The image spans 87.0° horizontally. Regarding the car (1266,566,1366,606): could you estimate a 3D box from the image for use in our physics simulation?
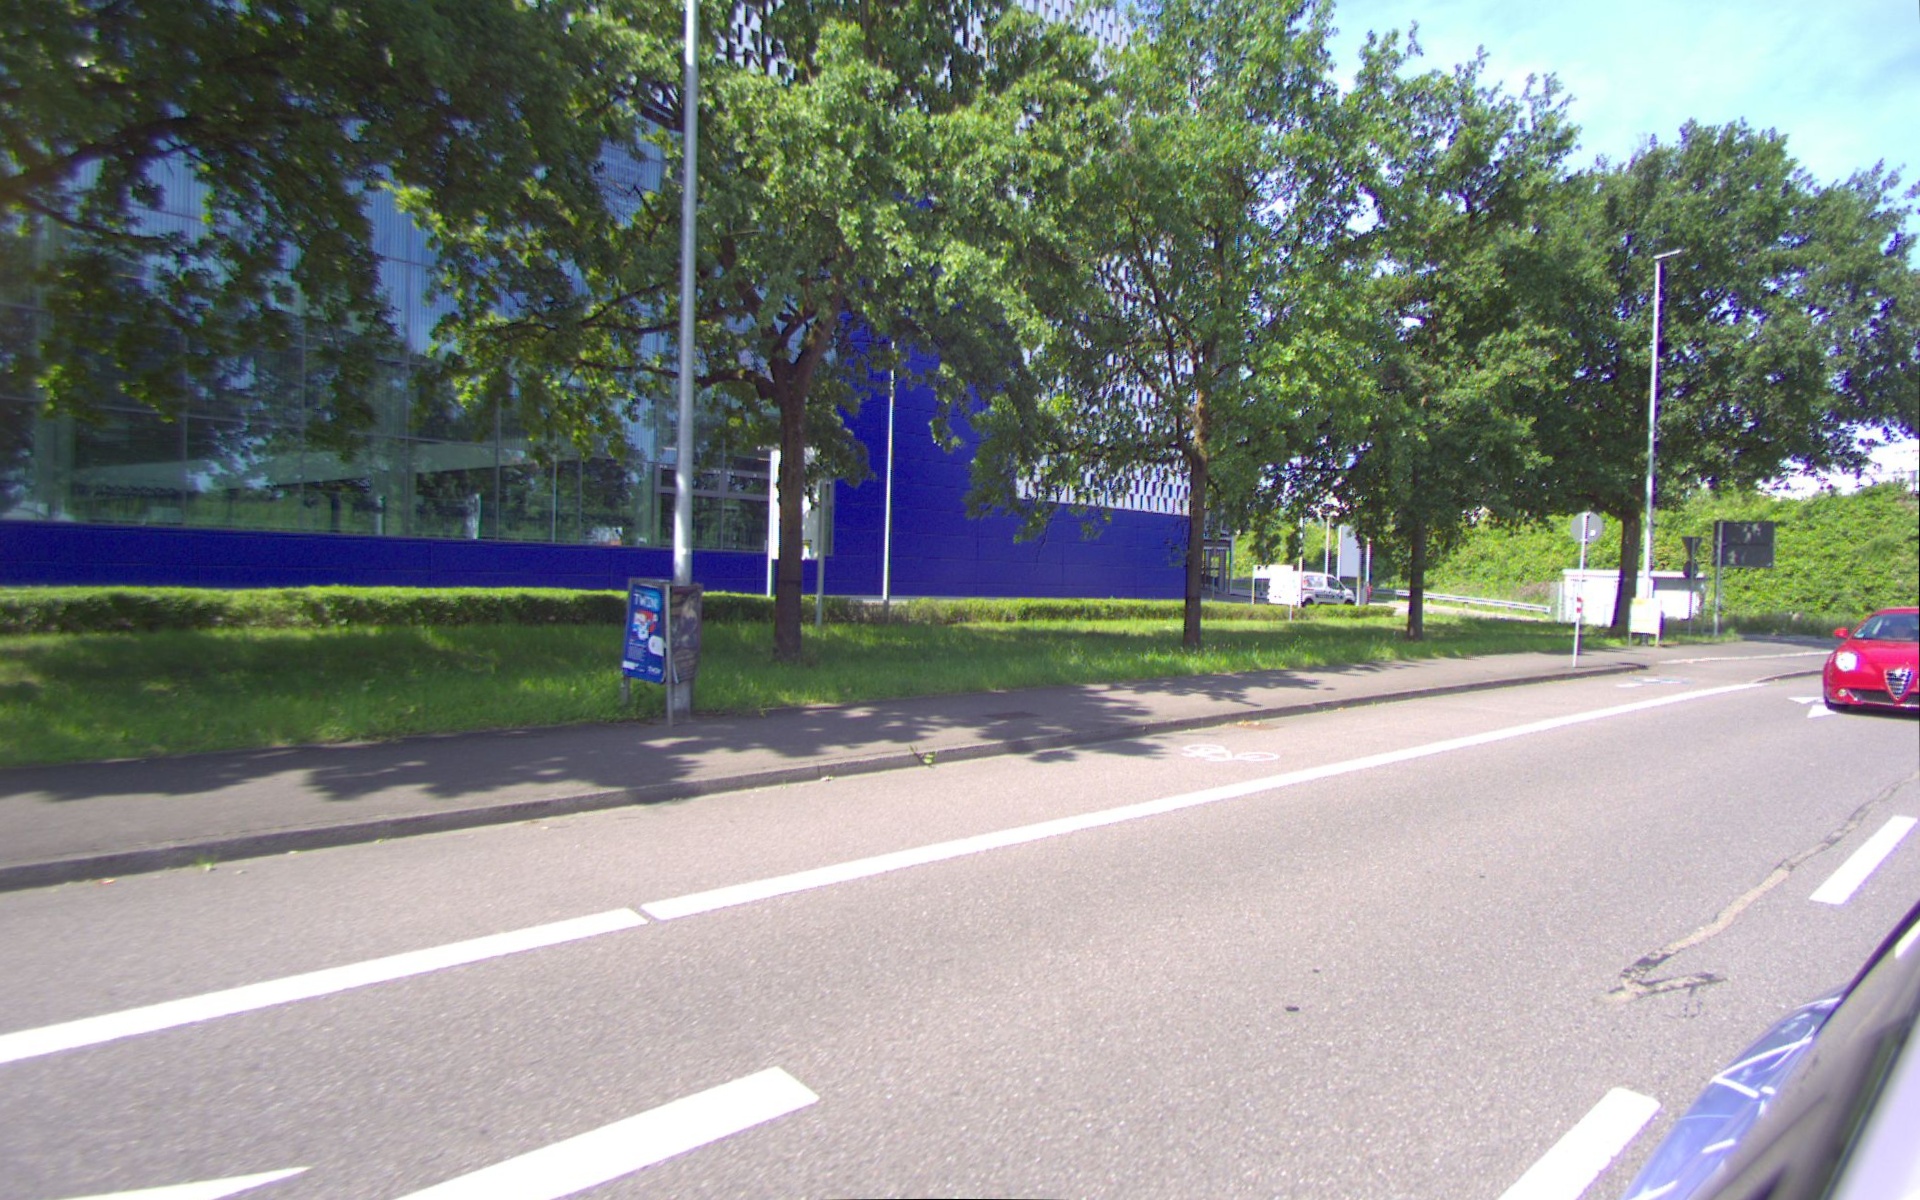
[{"bbox_3d":[15.188,-0.574,43.106,4.221,1.660,1.857,0,0,-33],"label":"car"}]

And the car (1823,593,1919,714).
[{"bbox_3d":[13.422,0.660,13.837,3.908,1.472,1.798,-1,1,-39],"label":"car"}]
